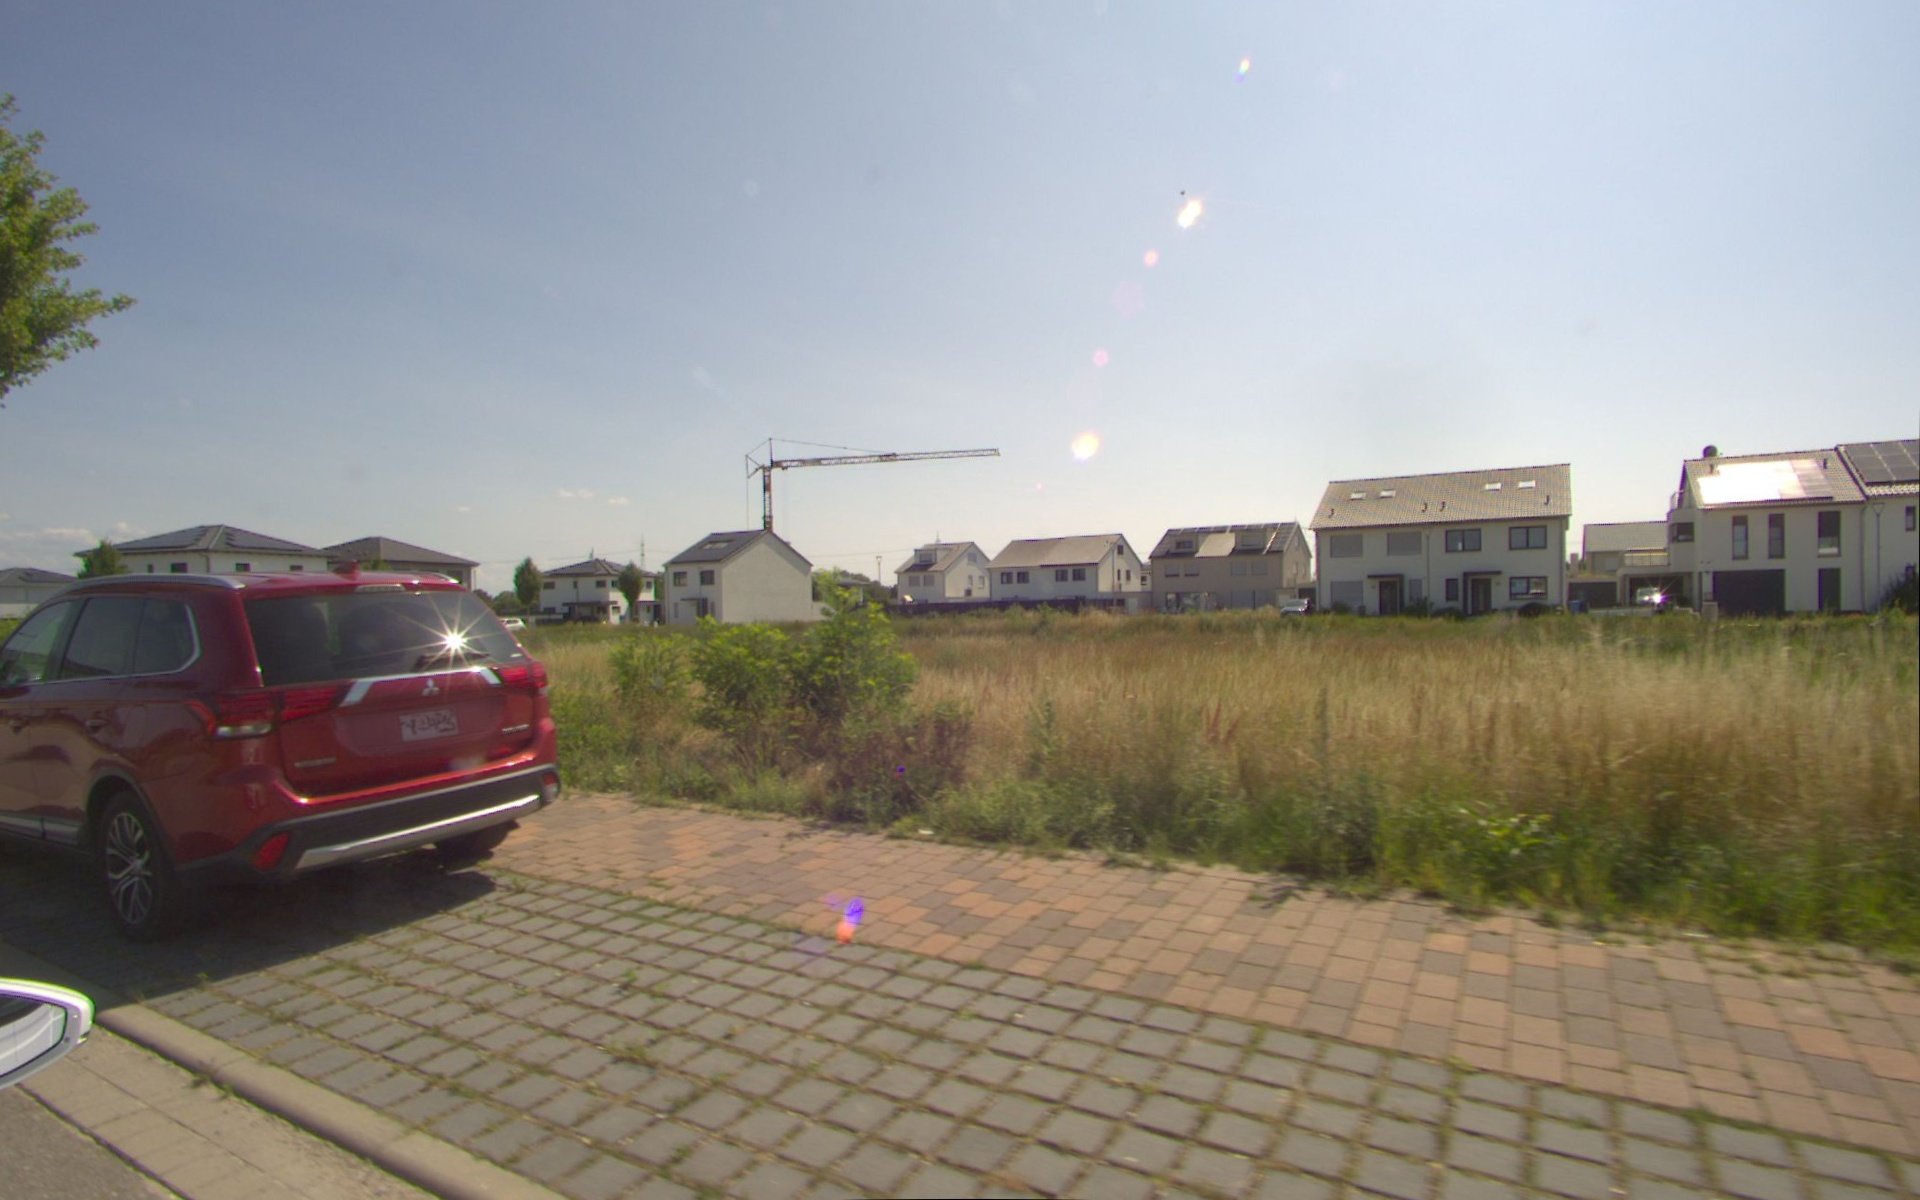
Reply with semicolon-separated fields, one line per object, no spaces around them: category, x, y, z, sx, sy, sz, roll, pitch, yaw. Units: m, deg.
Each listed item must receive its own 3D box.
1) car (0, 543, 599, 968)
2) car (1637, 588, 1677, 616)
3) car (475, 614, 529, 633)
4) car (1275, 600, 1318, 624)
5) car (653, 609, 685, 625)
car;-4.320;0.621;5.852;4.368;1.686;1.773;-1;1;31
car;39.803;0.110;57.197;1.791;1.532;3.975;-1;0;35
car;-36.907;1.913;80.823;1.719;1.416;3.993;-2;-1;18
car;23.045;0.790;68.474;1.791;1.594;3.975;-1;0;35
car;-34.356;2.015;118.461;1.794;1.776;4.237;-1;0;13
